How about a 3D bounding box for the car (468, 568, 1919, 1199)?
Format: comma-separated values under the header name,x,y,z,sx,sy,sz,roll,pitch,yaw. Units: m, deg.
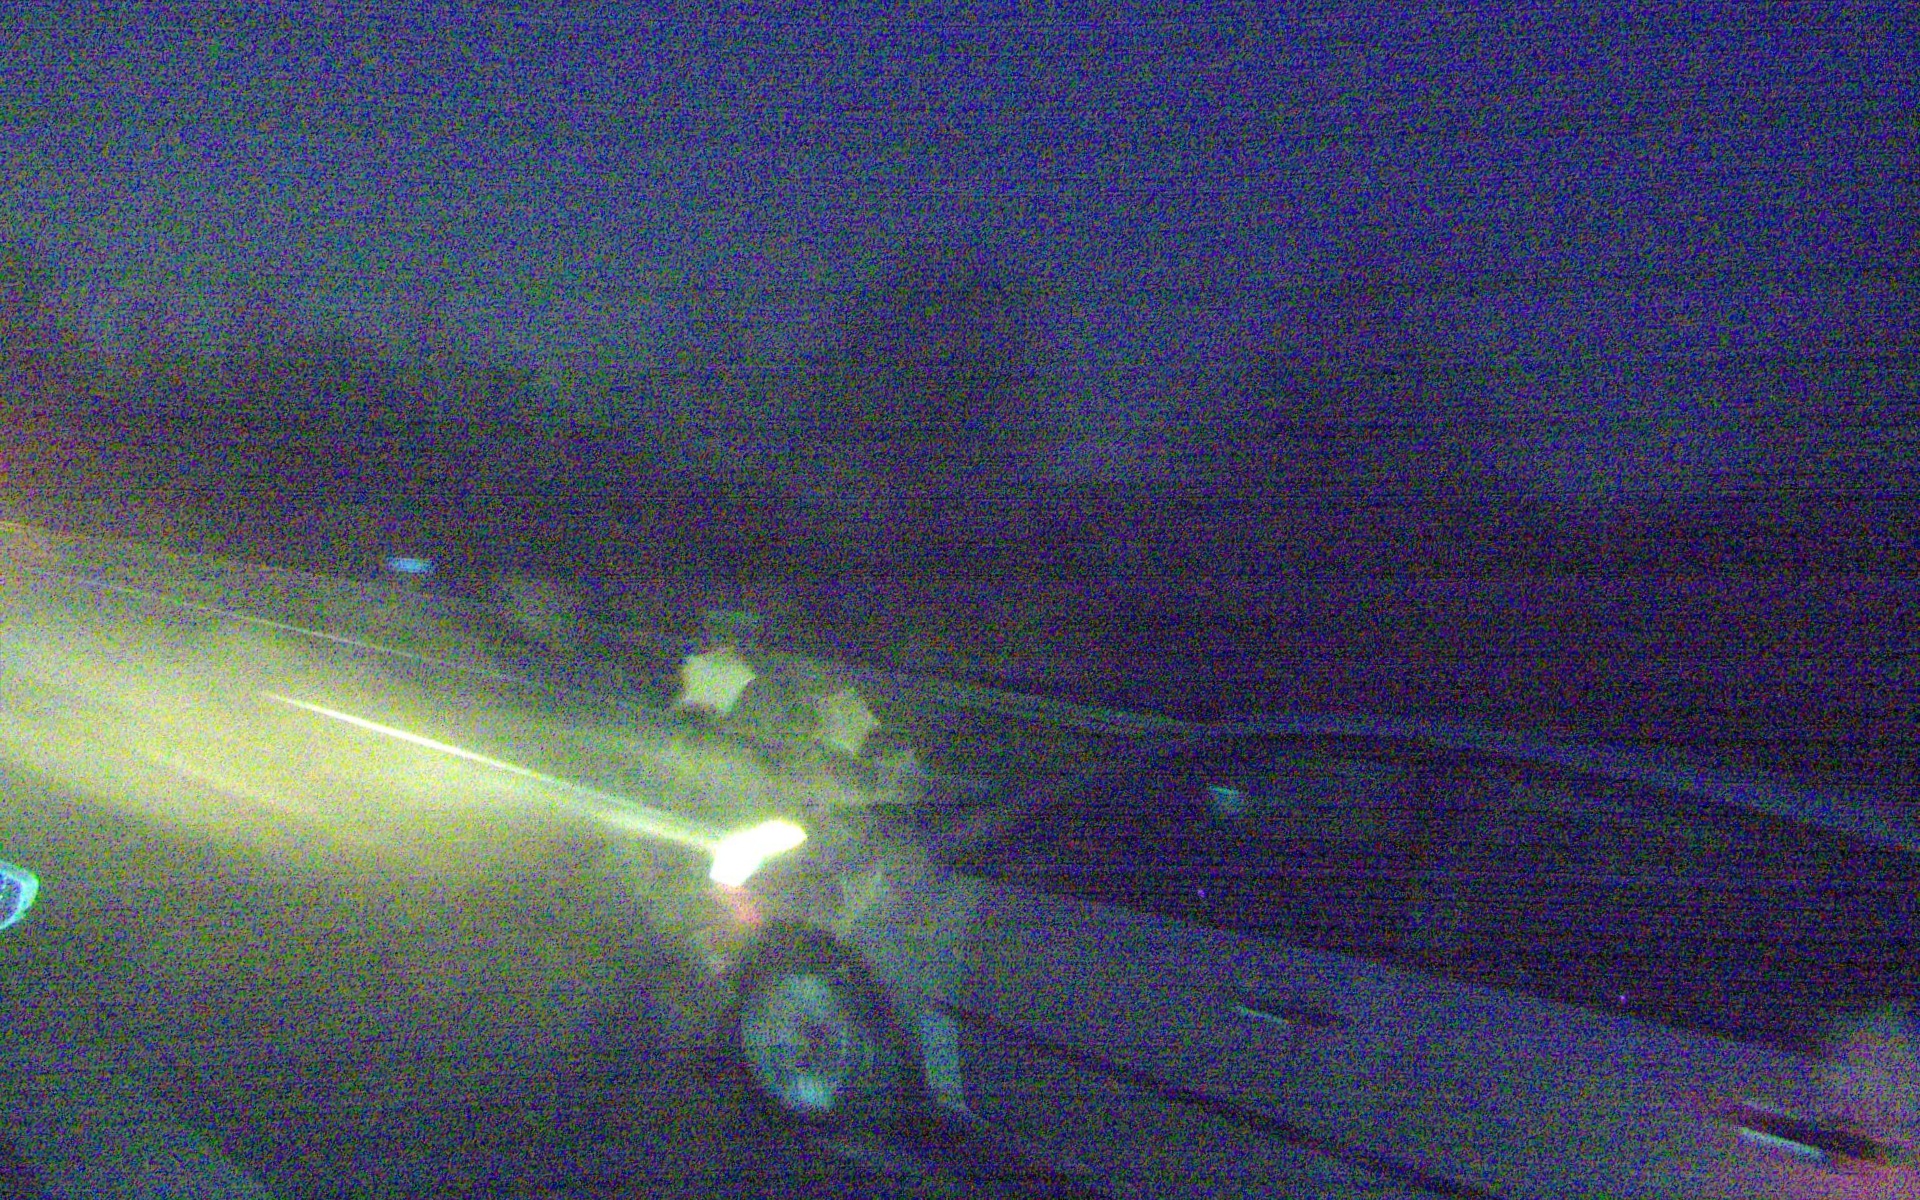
name,x,y,z,sx,sy,sz,roll,pitch,yaw
car,0.549,0.905,3.243,4.125,1.474,1.773,7,-1,31
